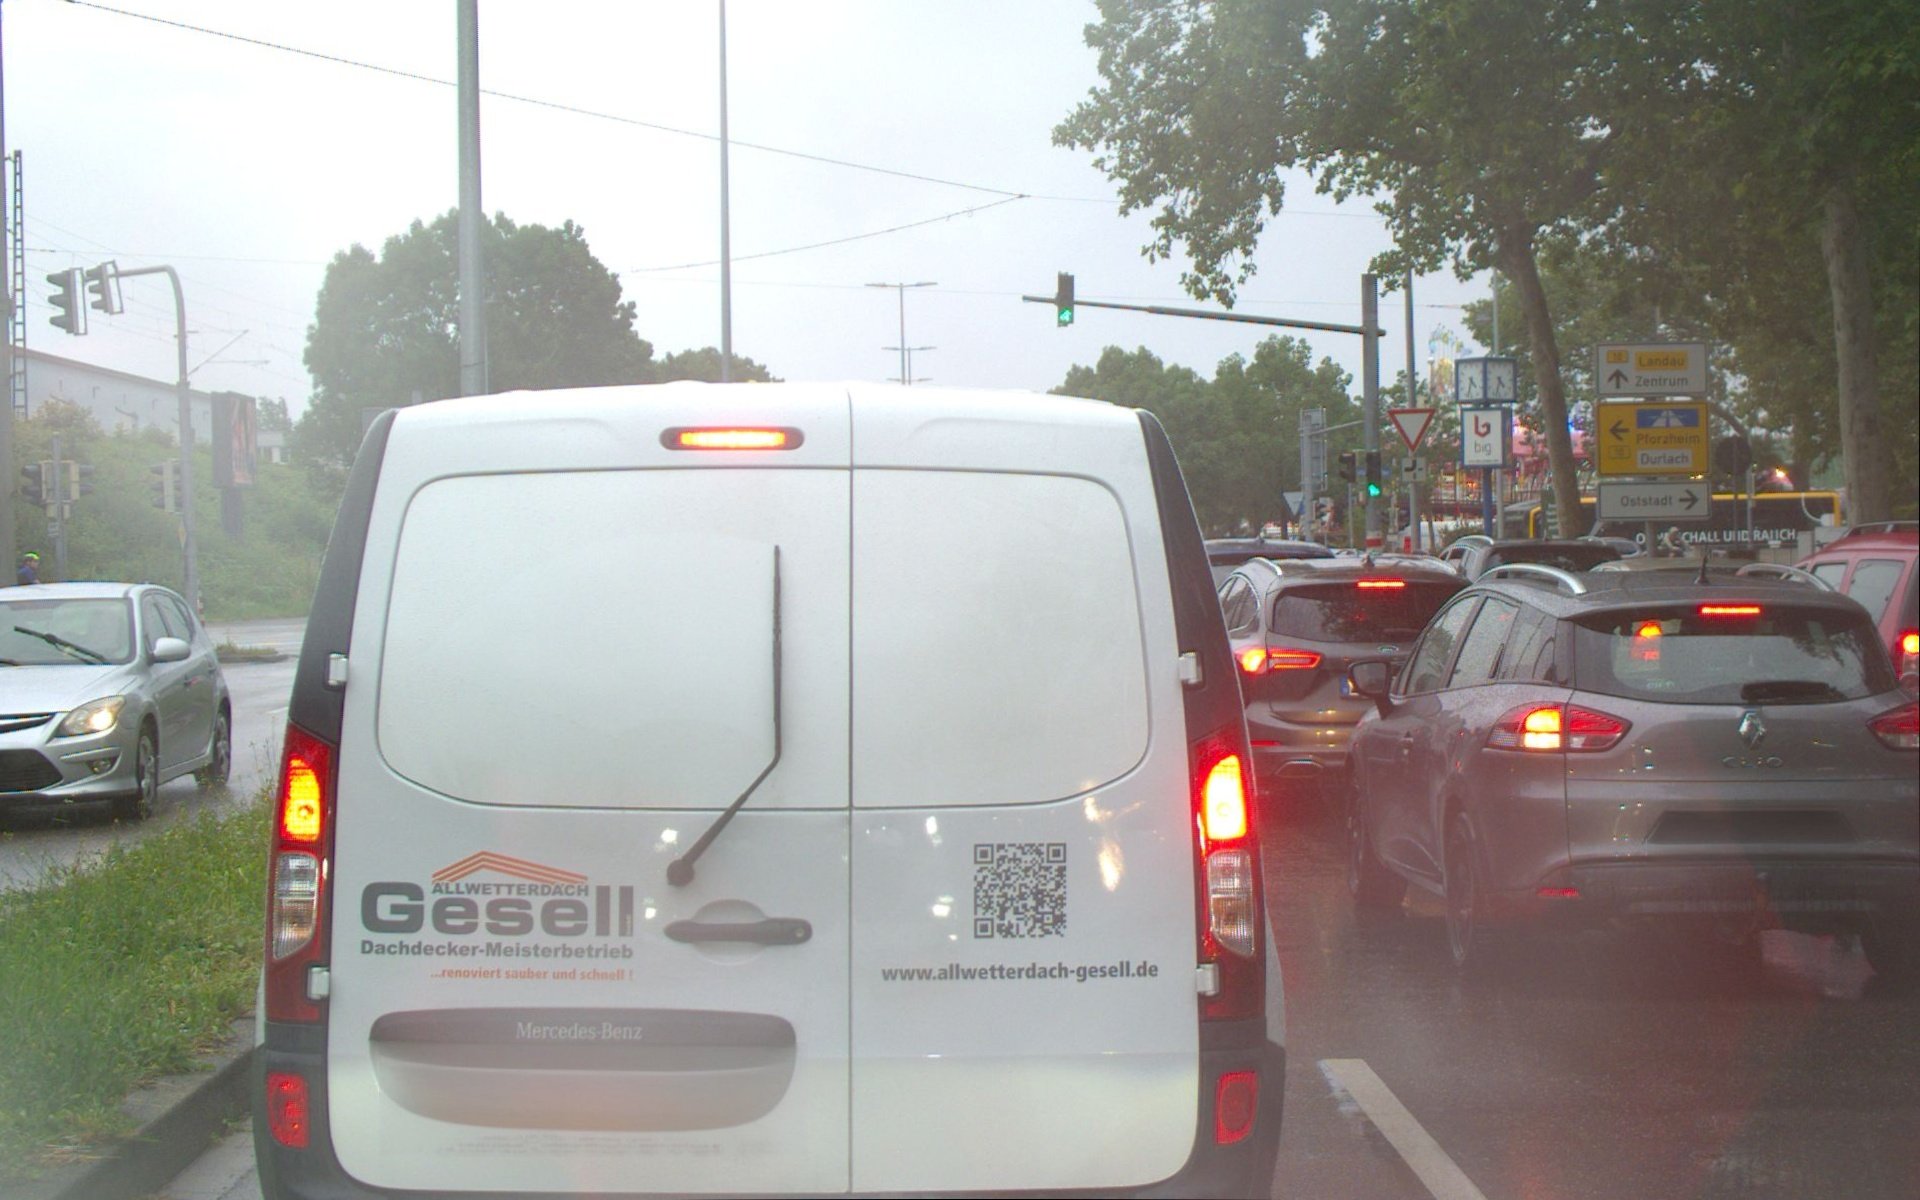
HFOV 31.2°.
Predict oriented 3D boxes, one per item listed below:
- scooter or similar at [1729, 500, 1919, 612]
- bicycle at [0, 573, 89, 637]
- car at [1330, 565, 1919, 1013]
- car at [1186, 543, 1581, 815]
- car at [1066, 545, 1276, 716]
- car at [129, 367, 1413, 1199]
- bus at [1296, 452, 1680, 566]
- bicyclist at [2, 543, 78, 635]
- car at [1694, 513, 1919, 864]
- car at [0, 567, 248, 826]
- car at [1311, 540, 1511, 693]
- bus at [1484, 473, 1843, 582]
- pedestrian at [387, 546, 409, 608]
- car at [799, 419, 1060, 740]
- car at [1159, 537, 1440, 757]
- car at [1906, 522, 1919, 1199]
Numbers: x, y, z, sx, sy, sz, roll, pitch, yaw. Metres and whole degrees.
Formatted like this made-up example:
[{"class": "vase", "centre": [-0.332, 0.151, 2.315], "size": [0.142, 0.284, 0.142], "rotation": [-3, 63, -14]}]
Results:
[{"class": "scooter or similar", "centre": [19.990, -0.992, 77.062], "size": [1.890, 2.437, 5.316], "rotation": [-1, 1, -41]}, {"class": "bicycle", "centre": [-14.878, 0.063, 55.547], "size": [1.040, 0.949, 2.889], "rotation": [-2, 2, -25]}, {"class": "car", "centre": [2.516, 0.600, 13.123], "size": [1.683, 1.403, 3.843], "rotation": [1, 1, -1]}, {"class": "car", "centre": [2.433, 0.396, 20.634], "size": [1.854, 1.455, 3.843], "rotation": [0, 1, -1]}, {"class": "car", "centre": [2.098, 0.277, 35.129], "size": [1.854, 1.644, 3.843], "rotation": [0, 1, -1]}, {"class": "car", "centre": [-0.316, 0.477, 7.653], "size": [1.993, 1.770, 4.585], "rotation": [0, 1, -1]}, {"class": "bus", "centre": [16.964, -2.924, 110.876], "size": [11.970, 3.411, 2.315], "rotation": [-1, 1, 0]}, {"class": "bicyclist", "centre": [-14.863, -0.182, 55.514], "size": [1.040, 1.445, 0.729], "rotation": [-2, 2, -25]}, {"class": "car", "centre": [5.337, 0.428, 18.699], "size": [1.710, 1.688, 4.272], "rotation": [1, 0, -1]}, {"class": "car", "centre": [-5.894, 0.575, 22.111], "size": [1.816, 1.457, 4.000], "rotation": [-3, 1, -1]}, {"class": "car", "centre": [5.053, 0.159, 38.945], "size": [1.708, 1.644, 3.843], "rotation": [0, 1, -1]}, {"class": "bus", "centre": [23.785, -2.483, 116.137], "size": [11.967, 3.411, 2.484], "rotation": [-1, 2, -14]}, {"class": "pedestrian", "centre": [-15.702, -0.642, 96.107], "size": [0.543, 1.710, 0.563], "rotation": [1, 0, -4]}, {"class": "car", "centre": [-0.241, -0.187, 26.458], "size": [1.854, 2.288, 3.843], "rotation": [0, 1, -1]}, {"class": "car", "centre": [2.674, 0.320, 27.862], "size": [1.854, 1.644, 3.843], "rotation": [0, 1, -1]}, {"class": "car", "centre": [2.977, 0.645, 5.410], "size": [1.747, 1.549, 4.091], "rotation": [0, 1, -1]}]
